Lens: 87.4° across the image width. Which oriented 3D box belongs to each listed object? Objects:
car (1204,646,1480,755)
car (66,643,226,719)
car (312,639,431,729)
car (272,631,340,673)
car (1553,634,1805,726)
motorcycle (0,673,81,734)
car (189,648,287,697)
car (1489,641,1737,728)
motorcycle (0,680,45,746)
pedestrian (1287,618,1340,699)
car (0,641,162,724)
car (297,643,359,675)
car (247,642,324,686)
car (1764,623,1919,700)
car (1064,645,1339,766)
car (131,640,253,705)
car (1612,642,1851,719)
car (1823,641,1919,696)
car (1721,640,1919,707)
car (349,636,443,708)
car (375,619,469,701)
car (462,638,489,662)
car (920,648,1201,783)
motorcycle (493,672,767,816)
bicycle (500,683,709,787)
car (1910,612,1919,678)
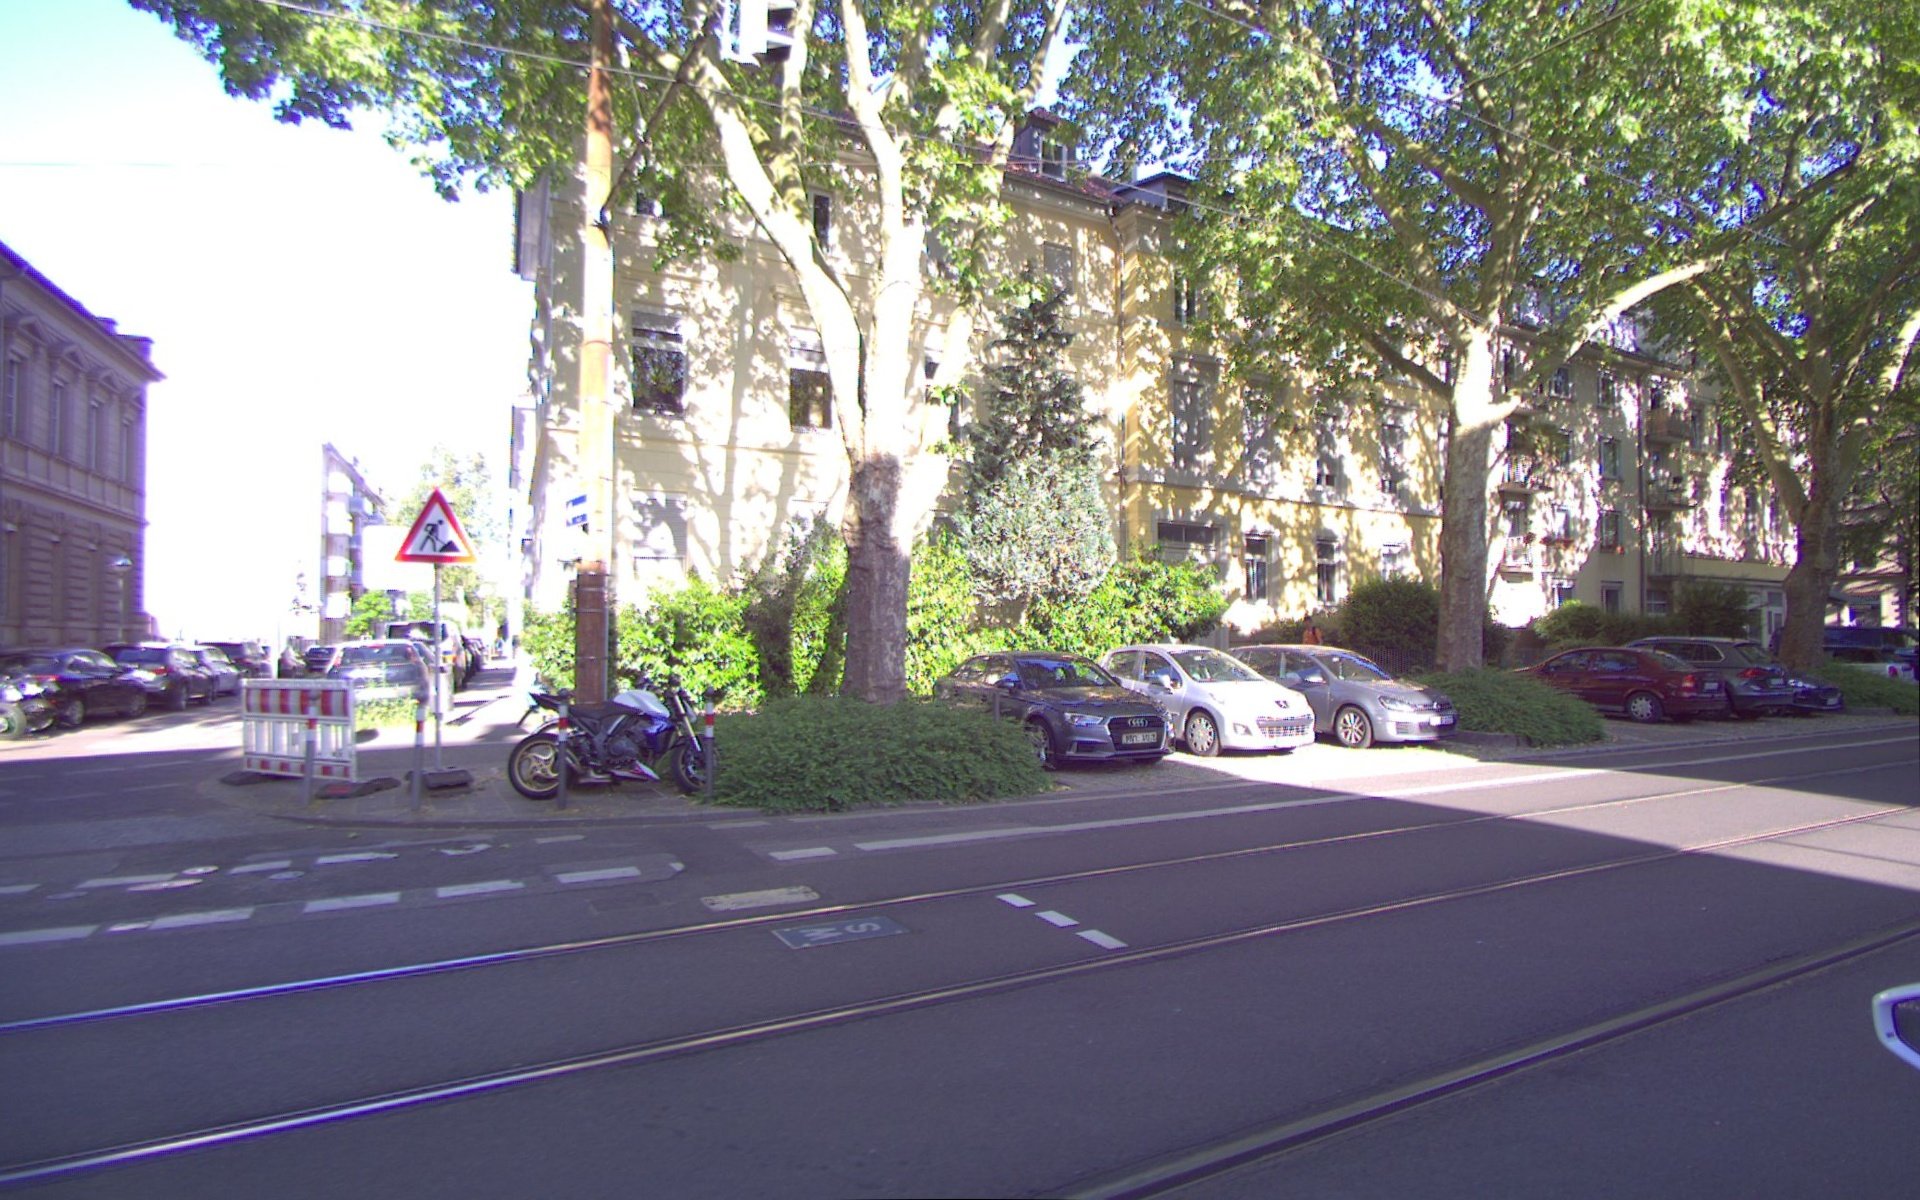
[{"bbox_3d":[5.918,1.482,16.023,1.784,1.481,3.904,1,-3,-29],"label":"car"},{"bbox_3d":[-19.113,1.850,23.809,1.821,1.510,3.912,1,-1,-22],"label":"car"},{"bbox_3d":[-11.040,1.525,19.060,1.672,1.437,3.763,-2,-2,-27],"label":"car"},{"bbox_3d":[-28.615,2.248,44.069,1.822,1.659,3.910,1,-1,-24],"label":"car"},{"bbox_3d":[15.146,1.607,21.379,1.857,1.648,3.977,1,-1,-29],"label":"car"},{"bbox_3d":[-16.475,1.772,17.237,1.924,0.990,0.719,1,-1,-18],"label":"motorcycle"},{"bbox_3d":[-23.463,2.323,32.796,1.677,1.350,3.912,1,-1,-22],"label":"car"},{"bbox_3d":[13.141,1.632,20.454,1.727,1.461,3.903,1,-1,-29],"label":"car"},{"bbox_3d":[-16.033,1.806,16.049,1.924,0.990,0.719,1,-1,-18],"label":"motorcycle"},{"bbox_3d":[8.404,1.376,23.890,0.830,1.874,0.859,1,-2,-37],"label":"pedestrian"},{"bbox_3d":[-17.426,1.535,19.554,1.820,1.350,3.913,1,-1,-21],"label":"car"},{"bbox_3d":[-30.579,2.845,48.702,1.821,1.350,3.912,1,-1,-22],"label":"car"},{"bbox_3d":[-25.829,2.416,38.587,1.648,1.455,3.912,1,-1,-22],"label":"car"},{"bbox_3d":[25.165,1.636,27.413,1.955,1.949,4.656,1,-1,-28],"label":"car"},{"bbox_3d":[3.382,1.421,14.773,1.778,1.472,3.904,1,-2,-29],"label":"car"},{"bbox_3d":[-21.561,1.992,28.370,1.686,1.570,3.912,1,-1,-22],"label":"car"},{"bbox_3d":[17.212,1.731,22.600,1.798,1.440,3.900,1,-1,-31],"label":"car"},{"bbox_3d":[27.427,1.974,28.834,1.618,1.449,3.717,1,-1,-29],"label":"car"},{"bbox_3d":[22.479,1.852,26.290,1.726,1.518,3.717,1,-1,-29],"label":"car"},{"bbox_3d":[-12.862,1.602,23.075,1.672,1.437,3.906,-1,-2,-27],"label":"car"},{"bbox_3d":[-15.058,1.646,28.324,1.988,2.028,4.395,-2,-1,-25],"label":"car"},{"bbox_3d":[-35.952,3.690,74.552,1.671,1.625,3.767,-2,-1,-24],"label":"car"},{"bbox_3d":[1.150,1.374,13.258,1.825,1.350,3.903,1,-1,-29],"label":"car"},{"bbox_3d":[-3.086,1.296,9.503,2.356,1.162,0.883,1,-2,-22],"label":"motorcycle"},{"bbox_3d":[-3.677,1.376,10.478,2.004,0.953,0.540,1,-1,-22],"label":"bicycle"},{"bbox_3d":[37.973,1.673,35.079,2.428,2.441,6.599,1,-1,-29],"label":"car"}]
